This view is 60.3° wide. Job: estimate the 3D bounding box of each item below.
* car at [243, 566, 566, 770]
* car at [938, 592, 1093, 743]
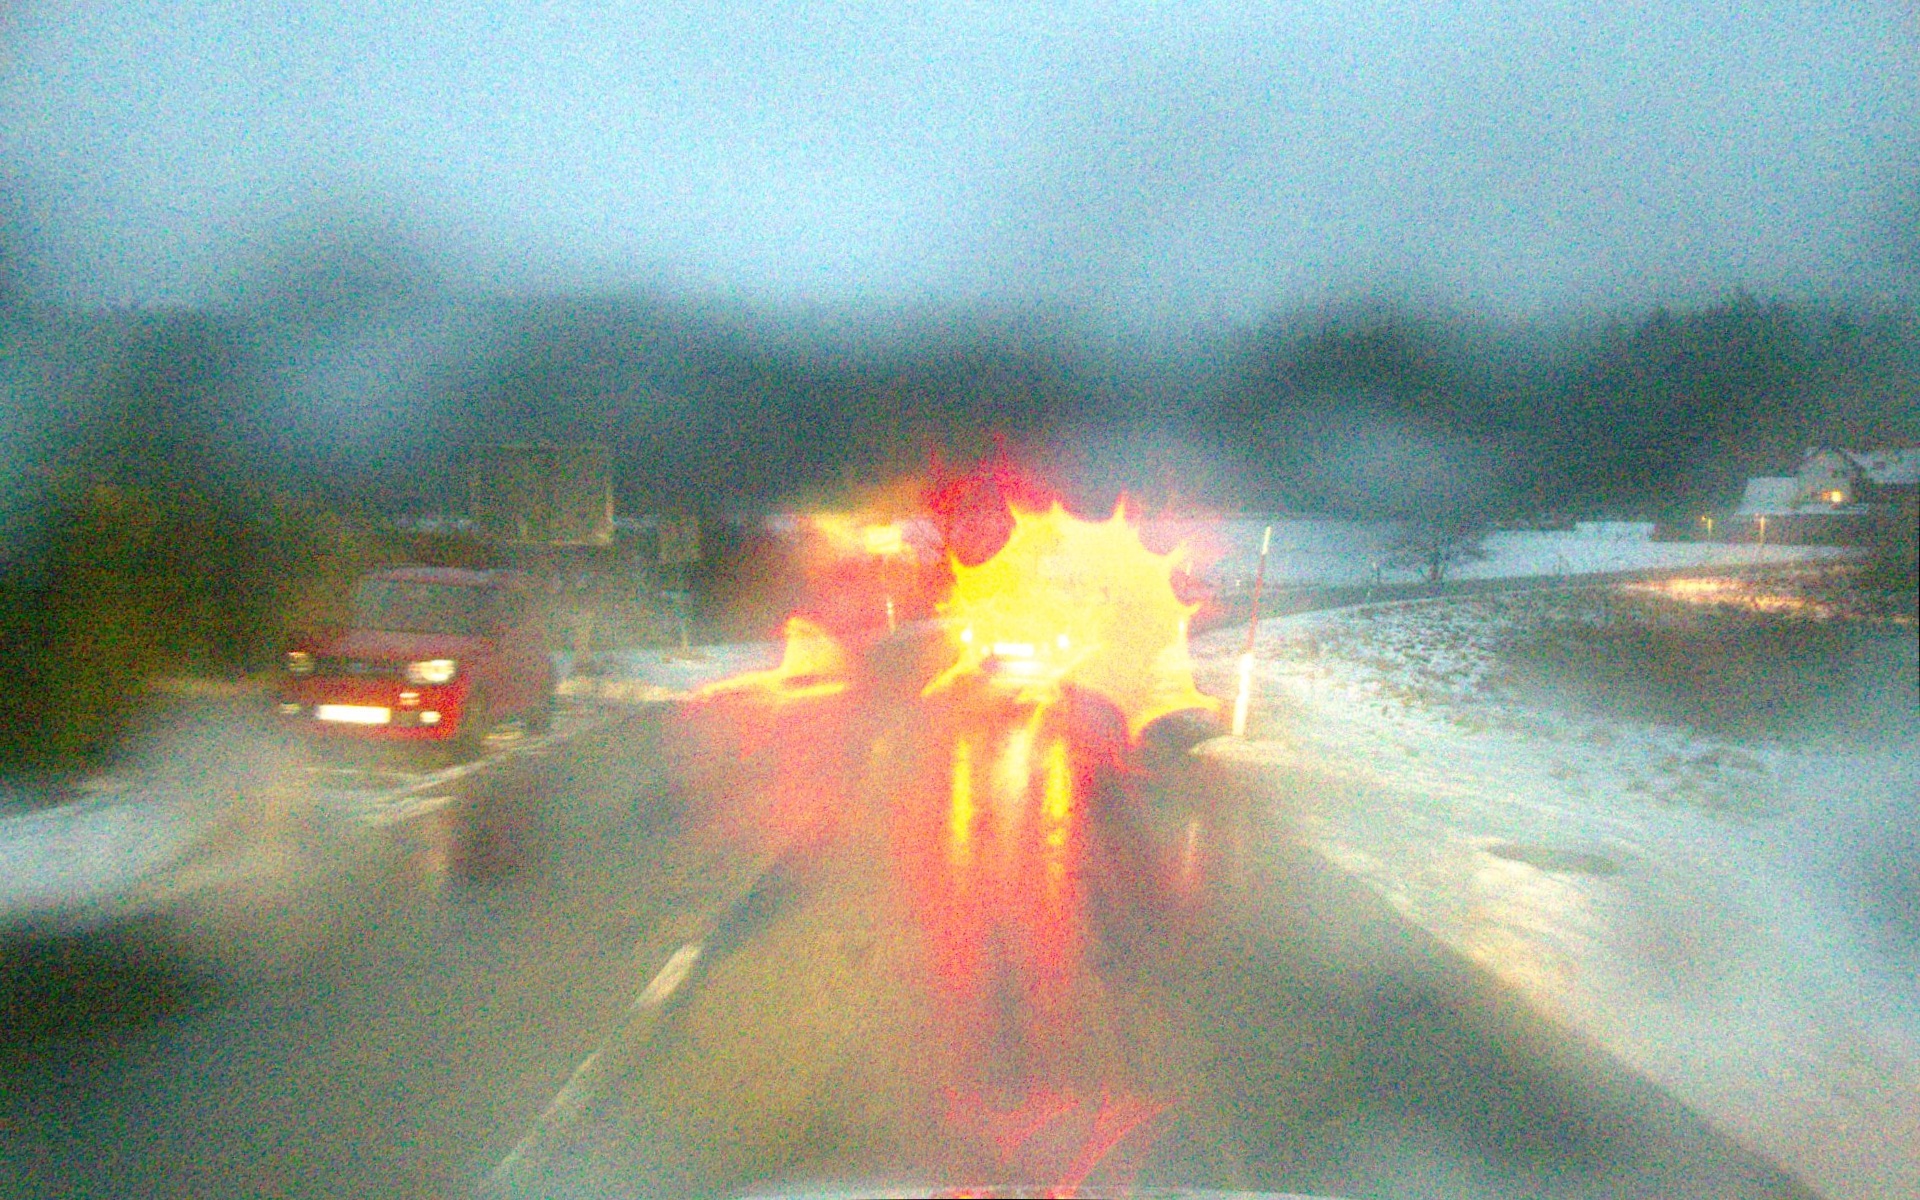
[{"bbox_3d":[-4.734,0.504,14.614,1.683,1.561,3.516,1,1,-1],"label":"car"},{"bbox_3d":[0.683,0.874,22.778,1.786,1.828,3.576,3,-1,-2],"label":"car"}]
